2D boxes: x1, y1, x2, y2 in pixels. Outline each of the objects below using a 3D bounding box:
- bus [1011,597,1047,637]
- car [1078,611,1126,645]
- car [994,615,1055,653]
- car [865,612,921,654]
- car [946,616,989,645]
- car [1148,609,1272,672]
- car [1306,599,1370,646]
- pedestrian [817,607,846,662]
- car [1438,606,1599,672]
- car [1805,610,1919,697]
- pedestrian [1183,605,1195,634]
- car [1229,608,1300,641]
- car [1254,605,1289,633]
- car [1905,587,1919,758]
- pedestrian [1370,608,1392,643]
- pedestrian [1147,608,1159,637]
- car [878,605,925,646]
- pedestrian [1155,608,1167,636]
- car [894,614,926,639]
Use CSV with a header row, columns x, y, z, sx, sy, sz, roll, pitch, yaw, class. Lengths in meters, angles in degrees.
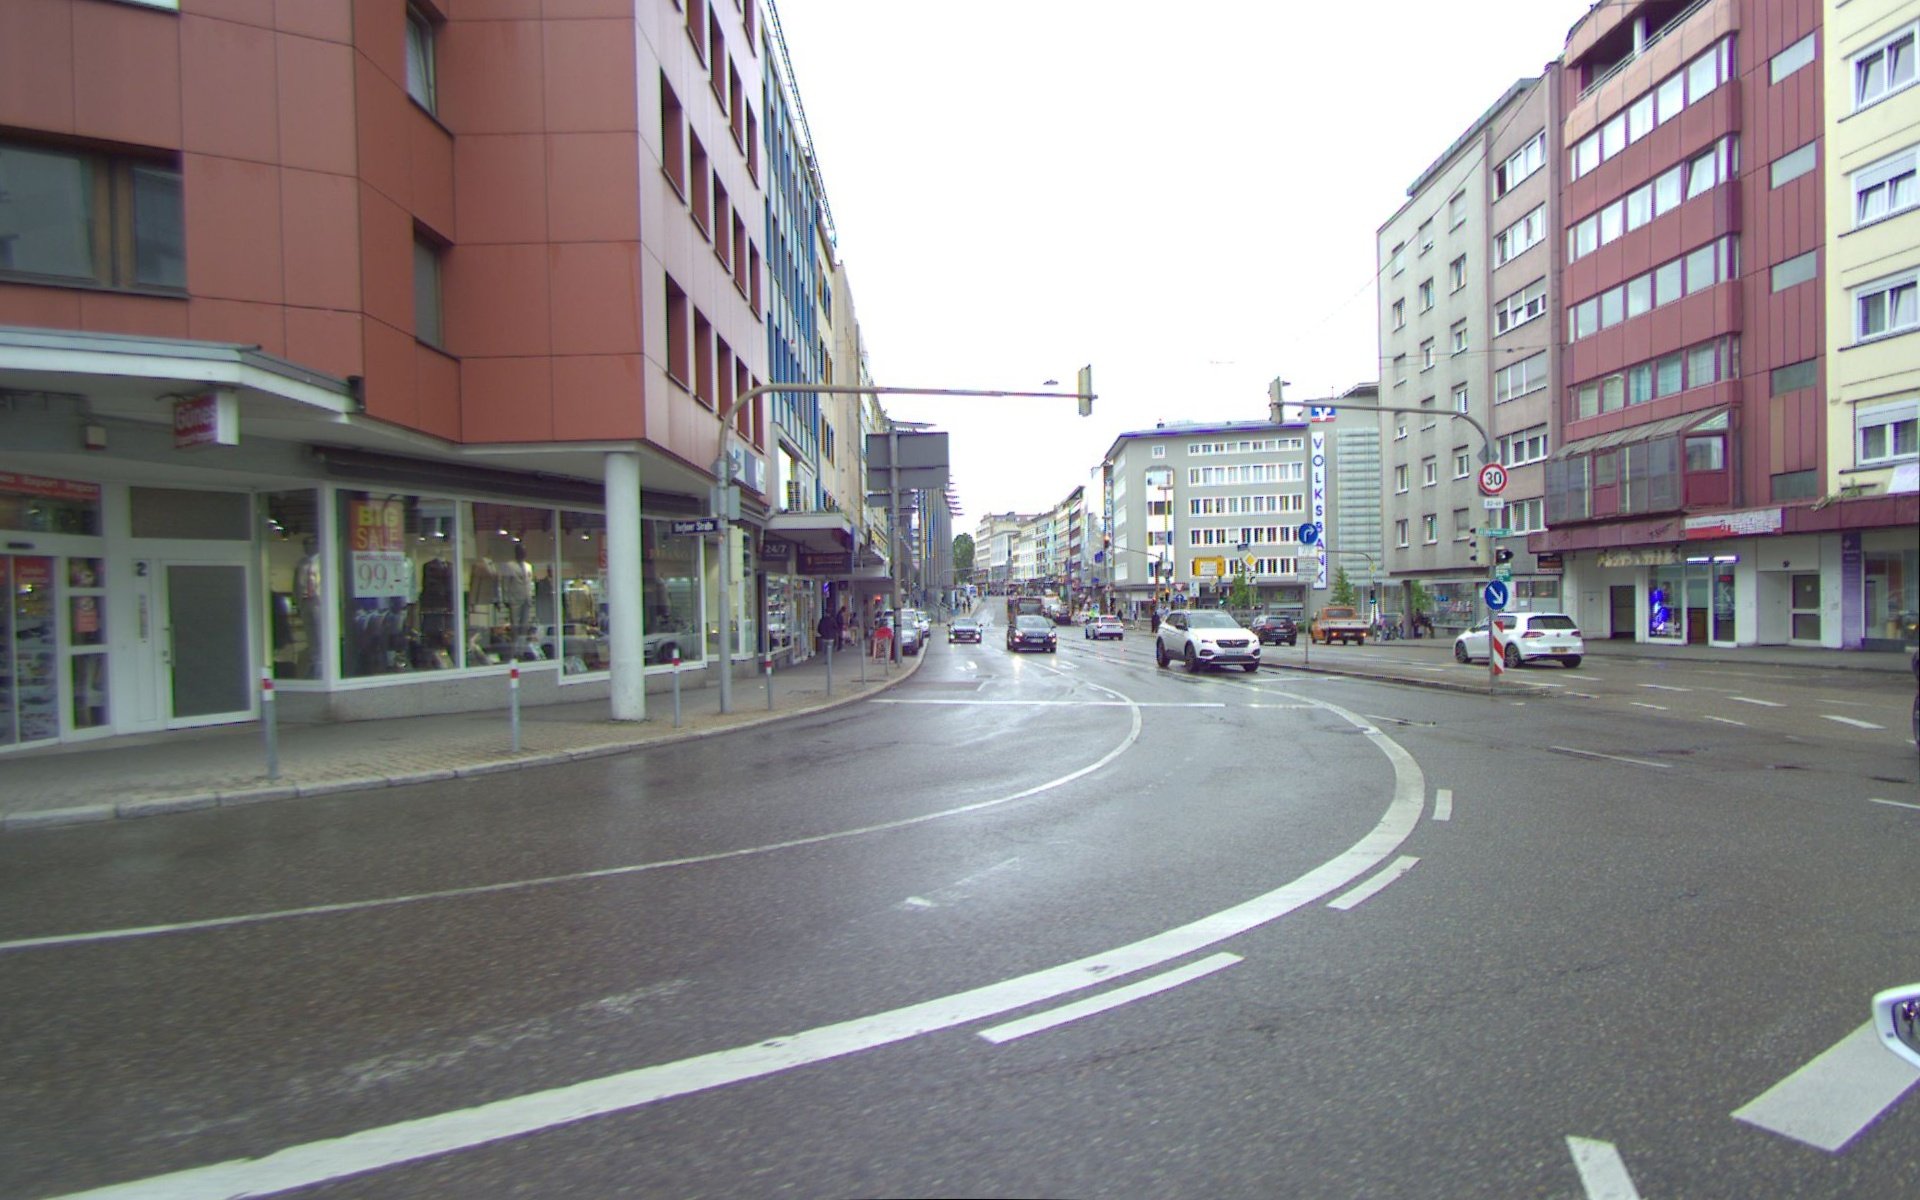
x,y,z,sx,sy,sz,roll,pitch,yaw,class
7.153,1.863,105.247,2.863,4.005,9.484,0,-2,-2,bus
8.576,1.657,60.866,1.961,1.813,4.733,2,1,-3,car
2.639,1.382,42.263,1.962,1.501,4.733,0,-1,-4,car
-2.554,1.214,38.358,1.962,1.426,4.733,1,0,-4,car
0.370,1.635,54.765,1.962,1.501,4.733,0,-1,-4,car
6.801,1.065,27.893,1.962,1.577,4.733,0,-1,-4,car
19.731,1.125,52.636,2.204,2.257,5.431,2,0,11,car
-3.920,1.043,30.707,0.814,1.647,0.723,1,0,-5,pedestrian
15.339,1.002,27.899,1.843,1.514,4.398,-3,1,-2,car
17.089,0.932,17.934,1.737,1.416,4.001,1,-1,19,car
16.547,1.426,72.534,0.797,2.040,0.855,1,-1,10,pedestrian
14.948,1.214,49.521,1.962,1.505,4.235,1,-1,-4,car
19.006,1.121,61.448,1.892,1.535,4.664,4,1,17,car
10.270,0.785,9.053,2.013,1.823,4.644,1,1,37,car
24.767,1.492,59.076,0.844,2.040,0.808,2,-1,-29,pedestrian
13.909,1.643,72.296,0.797,2.040,0.855,1,-1,10,pedestrian
-2.605,1.097,44.910,1.961,1.640,4.733,1,0,-3,car
14.822,1.650,74.022,0.797,2.040,0.855,1,-1,10,pedestrian
-3.217,1.671,64.177,1.962,1.501,4.733,0,-1,-4,car
